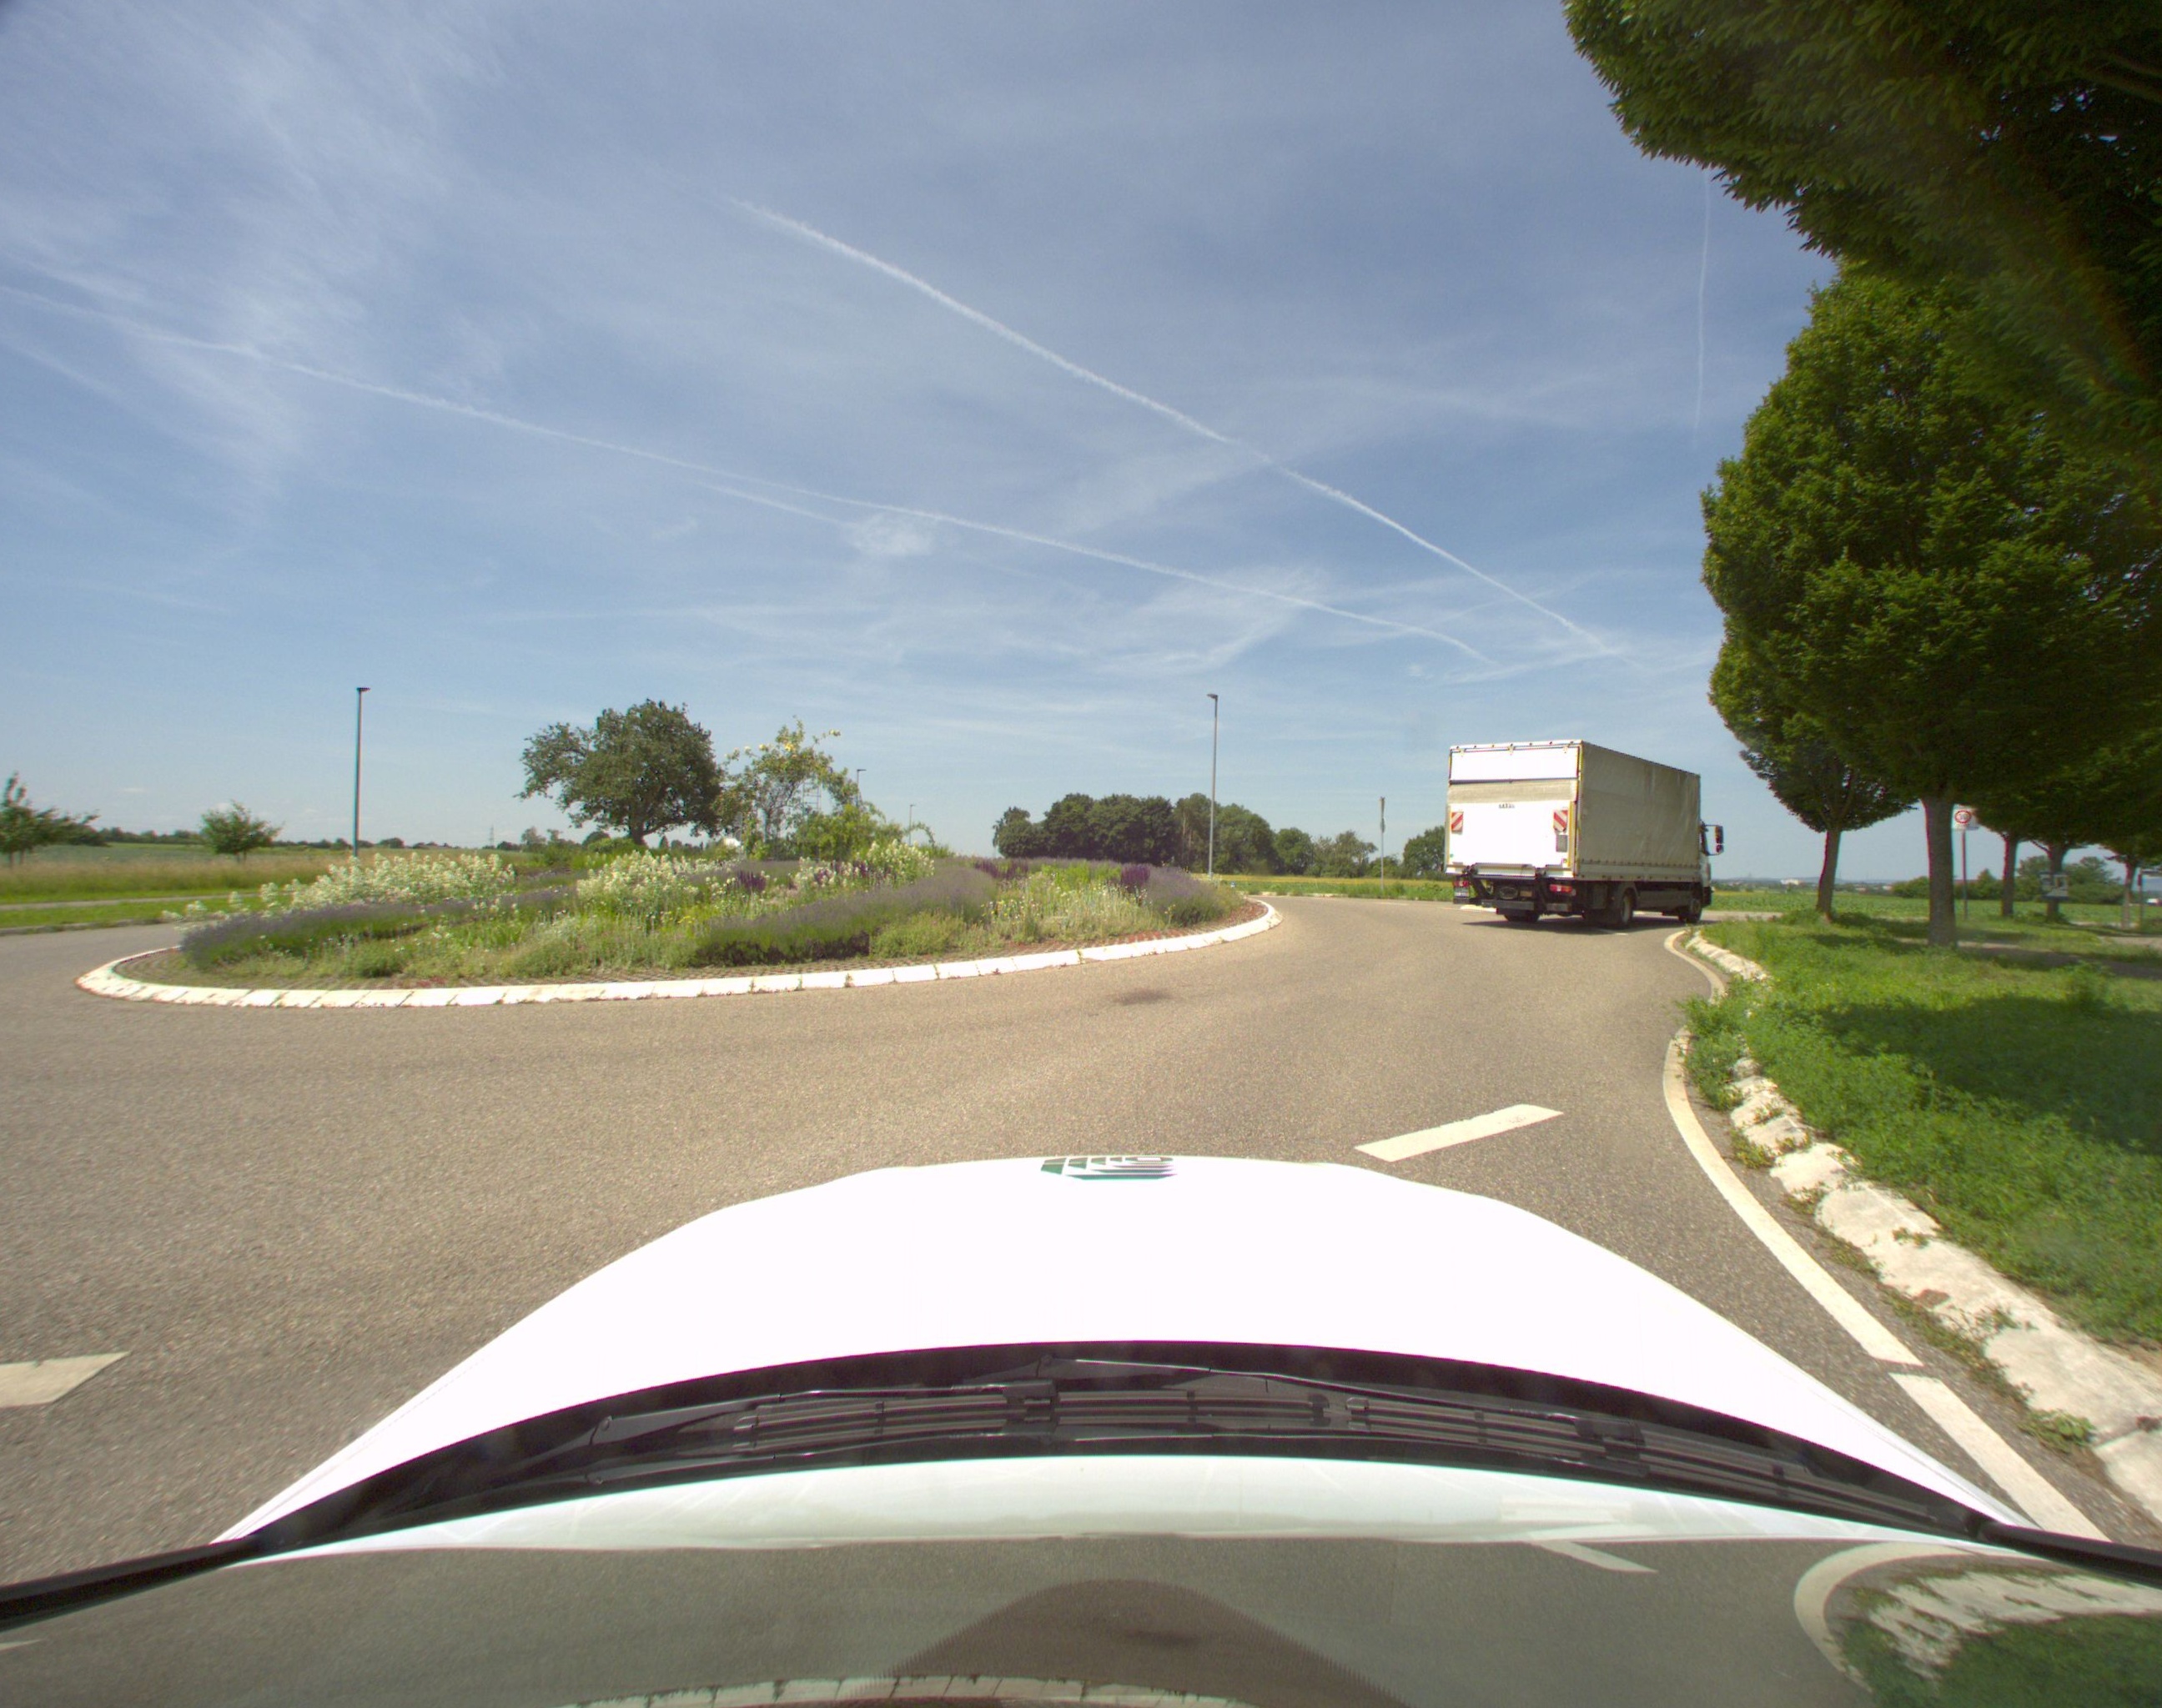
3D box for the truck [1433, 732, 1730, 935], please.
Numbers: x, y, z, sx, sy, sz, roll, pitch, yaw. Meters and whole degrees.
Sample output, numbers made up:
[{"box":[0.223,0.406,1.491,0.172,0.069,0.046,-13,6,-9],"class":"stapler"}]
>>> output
[{"box":[11.862,-0.347,18.744,9.428,3.670,2.744,1,1,-39],"class":"truck"}]
